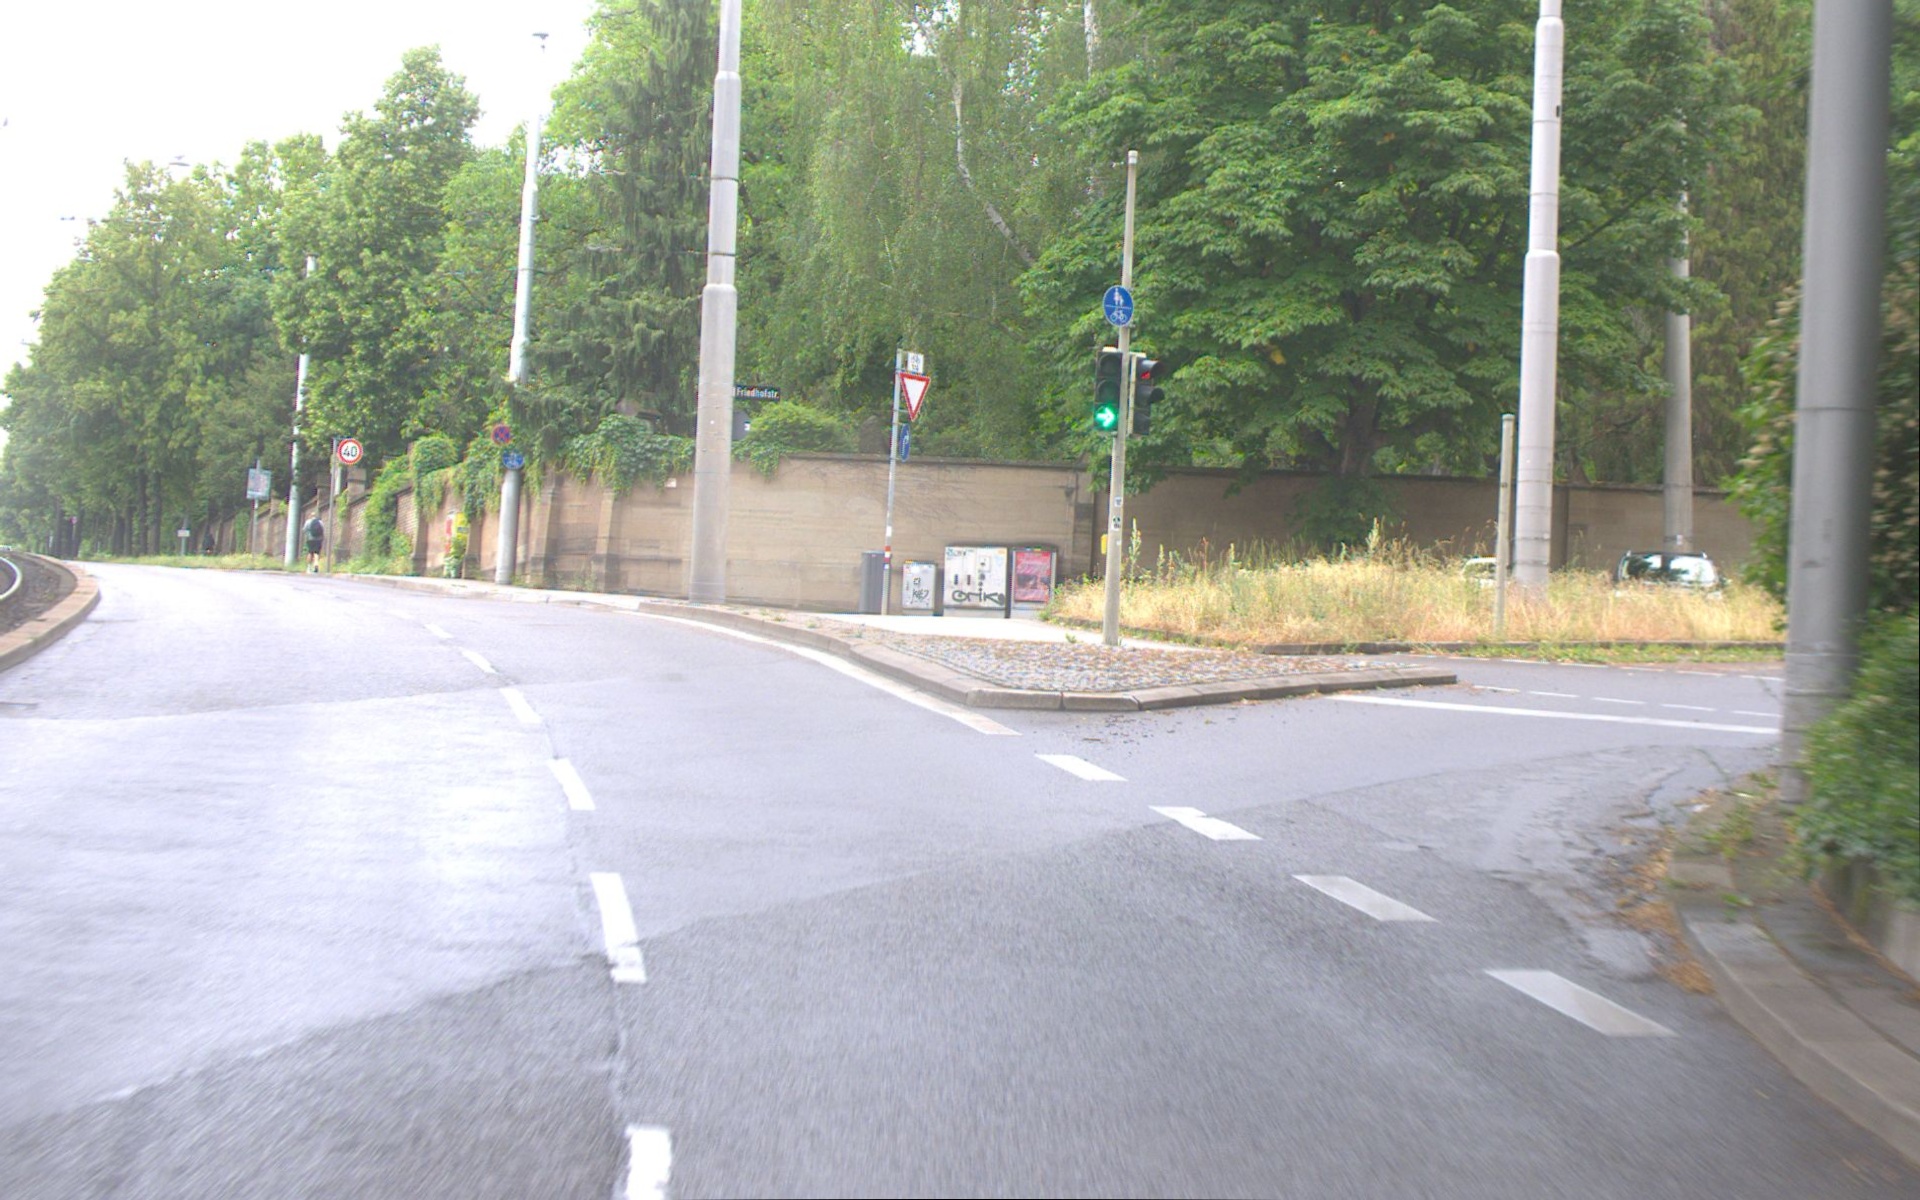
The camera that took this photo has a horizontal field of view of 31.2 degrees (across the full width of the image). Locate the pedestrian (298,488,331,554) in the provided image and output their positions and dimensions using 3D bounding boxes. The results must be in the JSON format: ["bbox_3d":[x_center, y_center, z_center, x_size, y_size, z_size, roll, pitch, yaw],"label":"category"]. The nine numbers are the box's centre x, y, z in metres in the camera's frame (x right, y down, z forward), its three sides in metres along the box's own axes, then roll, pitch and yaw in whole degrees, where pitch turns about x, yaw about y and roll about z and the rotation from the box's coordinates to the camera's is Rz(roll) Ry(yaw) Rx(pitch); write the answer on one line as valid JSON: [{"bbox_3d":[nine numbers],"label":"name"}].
[{"bbox_3d":[-18.448,-2.253,98.210,0.719,1.843,0.783,5,-1,-17],"label":"pedestrian"}]

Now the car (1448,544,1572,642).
[{"bbox_3d":[8.539,-0.089,53.590,1.753,1.401,3.999,2,0,8],"label":"car"}]

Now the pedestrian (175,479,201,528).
[{"bbox_3d":[-27.383,-3.417,122.009,0.719,1.681,0.729,5,-1,-17],"label":"pedestrian"}]
